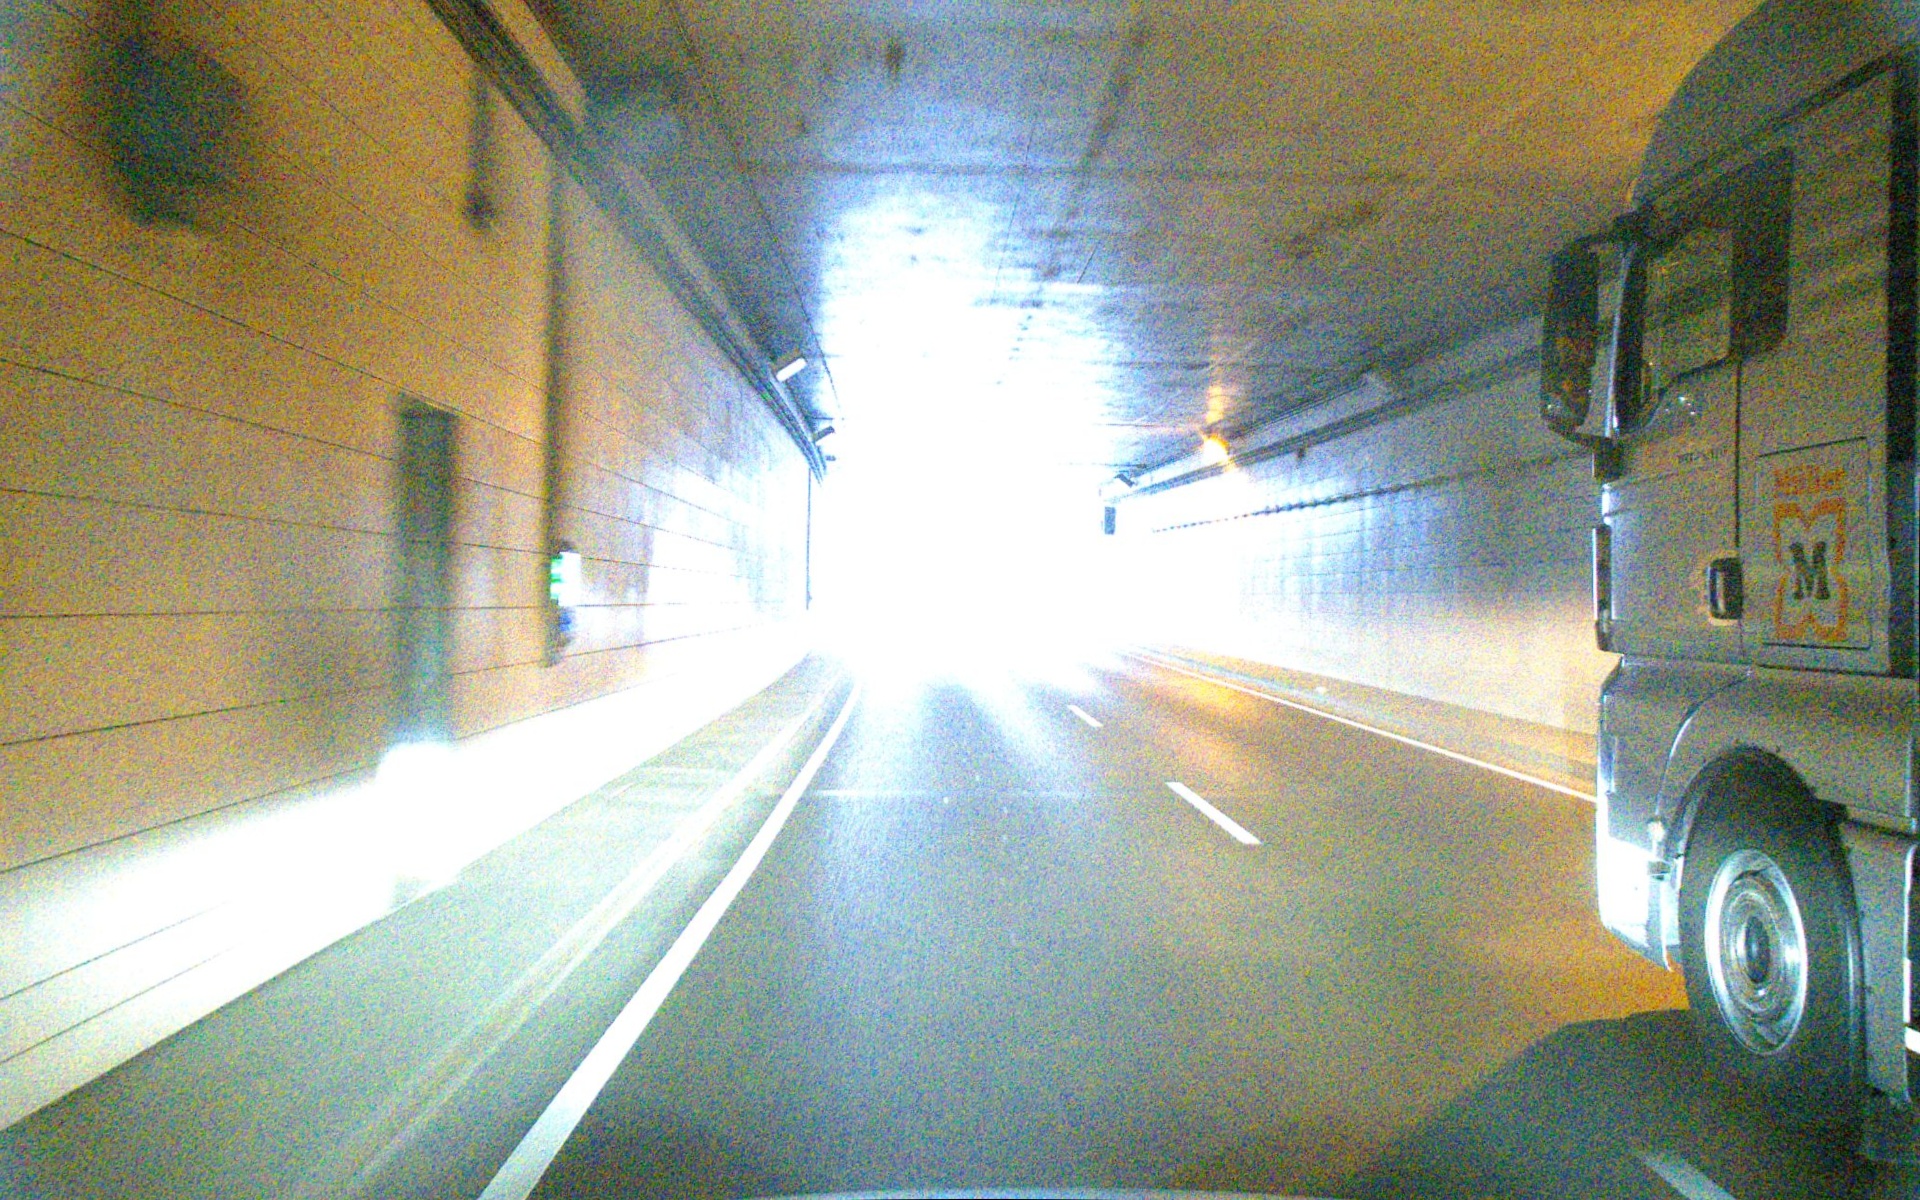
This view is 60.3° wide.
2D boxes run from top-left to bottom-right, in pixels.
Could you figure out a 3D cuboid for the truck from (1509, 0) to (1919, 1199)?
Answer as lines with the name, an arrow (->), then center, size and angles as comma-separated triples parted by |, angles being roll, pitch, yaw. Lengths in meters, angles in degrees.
truck -> 3.699, -0.503, 1.423 | 2.831, 3.982, 9.905 | 1, 0, -2
